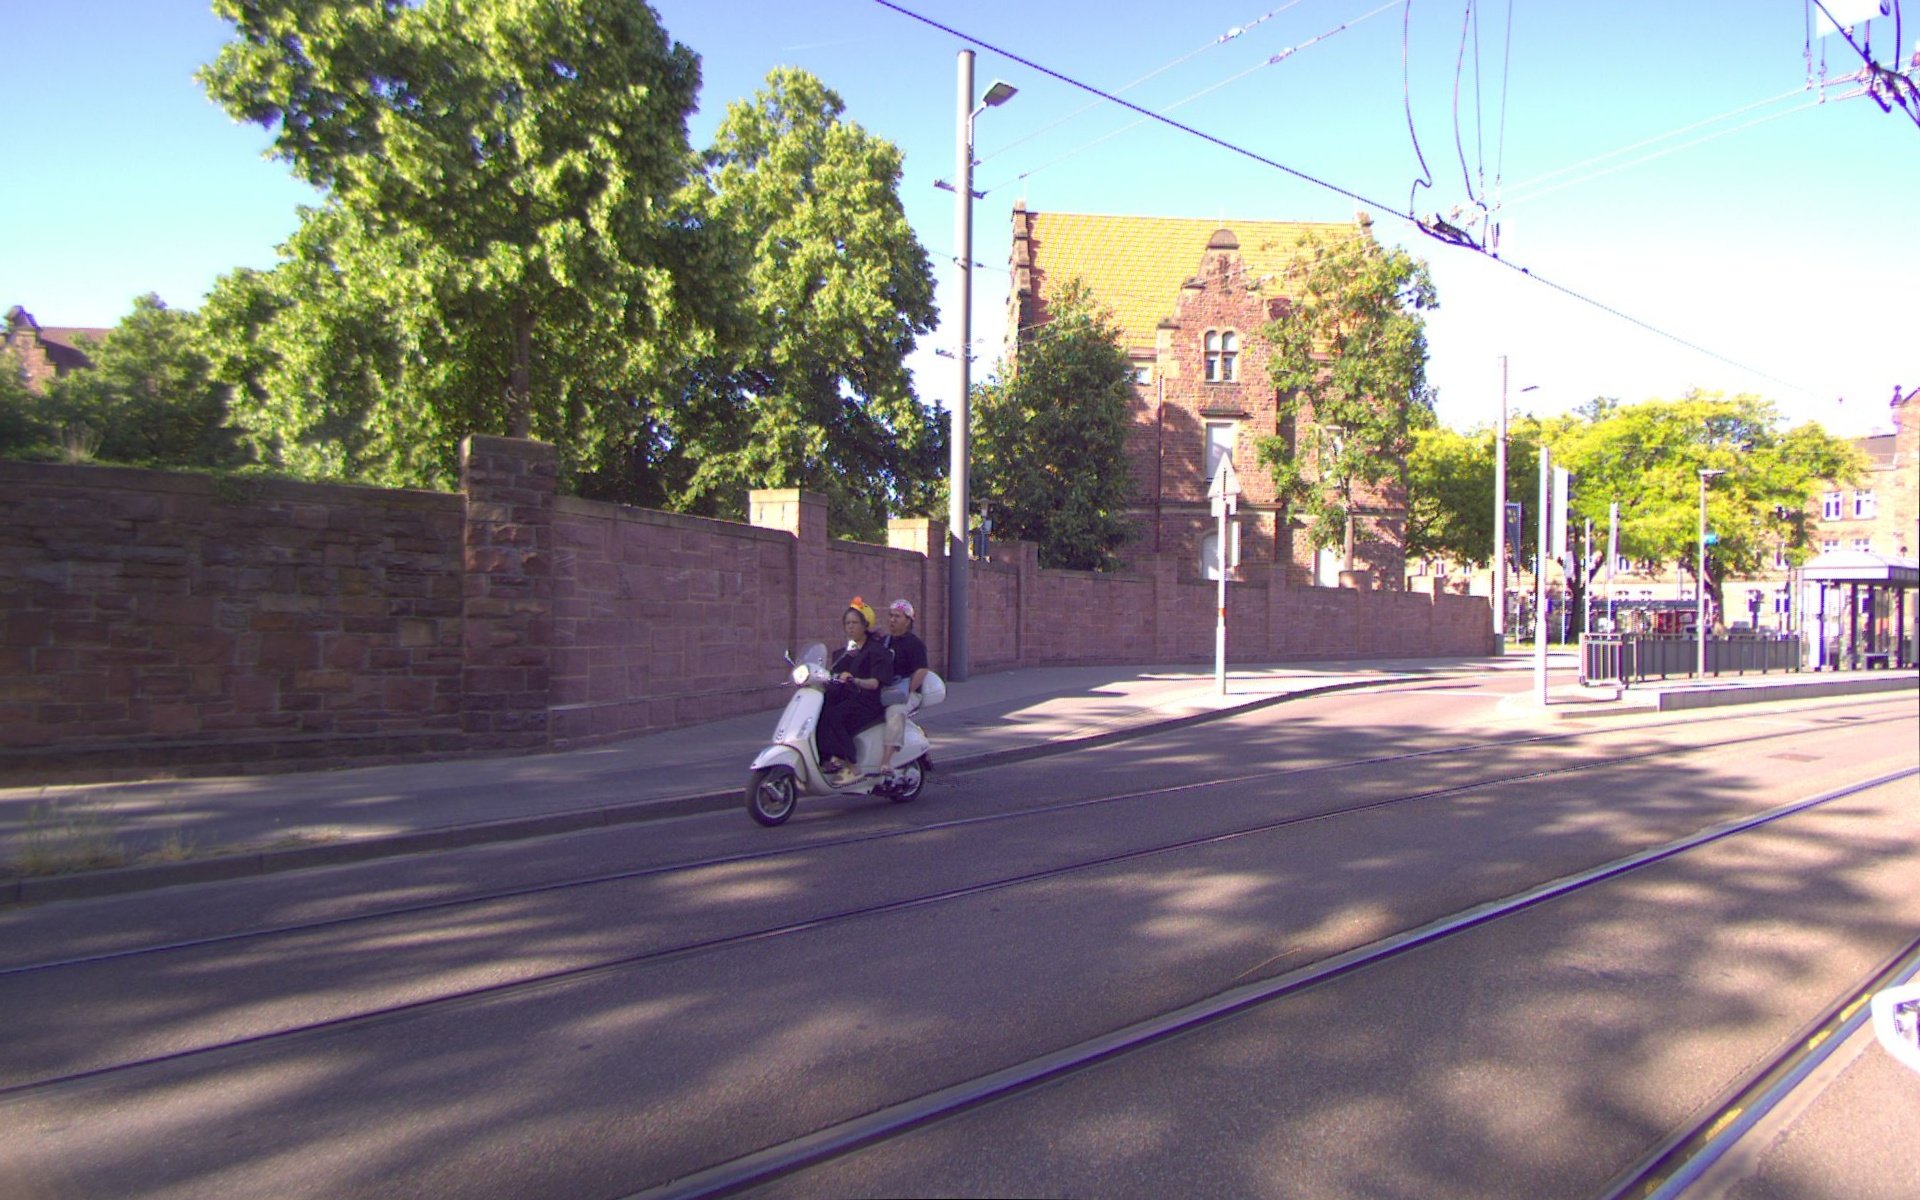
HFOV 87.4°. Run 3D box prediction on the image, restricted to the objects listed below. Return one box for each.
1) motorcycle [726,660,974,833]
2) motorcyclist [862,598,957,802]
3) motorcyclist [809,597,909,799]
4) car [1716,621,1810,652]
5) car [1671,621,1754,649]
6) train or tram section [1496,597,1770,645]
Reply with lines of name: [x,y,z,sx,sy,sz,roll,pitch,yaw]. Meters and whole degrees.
motorcycle: [-0.794,1.044,7.647,1.841,1.108,0.604,1,0,-39]
motorcyclist: [-0.404,0.759,7.965,0.462,1.536,0.601,1,0,-39]
motorcyclist: [-0.776,0.709,7.654,0.442,1.460,0.678,1,0,-39]
car: [47.757,2.172,59.805,1.798,1.651,3.964,2,0,-32]
car: [49.181,2.255,65.689,1.798,1.651,3.964,2,0,-32]
train or tram section: [50.031,1.474,75.894,3.312,3.196,17.280,2,-1,-33]
